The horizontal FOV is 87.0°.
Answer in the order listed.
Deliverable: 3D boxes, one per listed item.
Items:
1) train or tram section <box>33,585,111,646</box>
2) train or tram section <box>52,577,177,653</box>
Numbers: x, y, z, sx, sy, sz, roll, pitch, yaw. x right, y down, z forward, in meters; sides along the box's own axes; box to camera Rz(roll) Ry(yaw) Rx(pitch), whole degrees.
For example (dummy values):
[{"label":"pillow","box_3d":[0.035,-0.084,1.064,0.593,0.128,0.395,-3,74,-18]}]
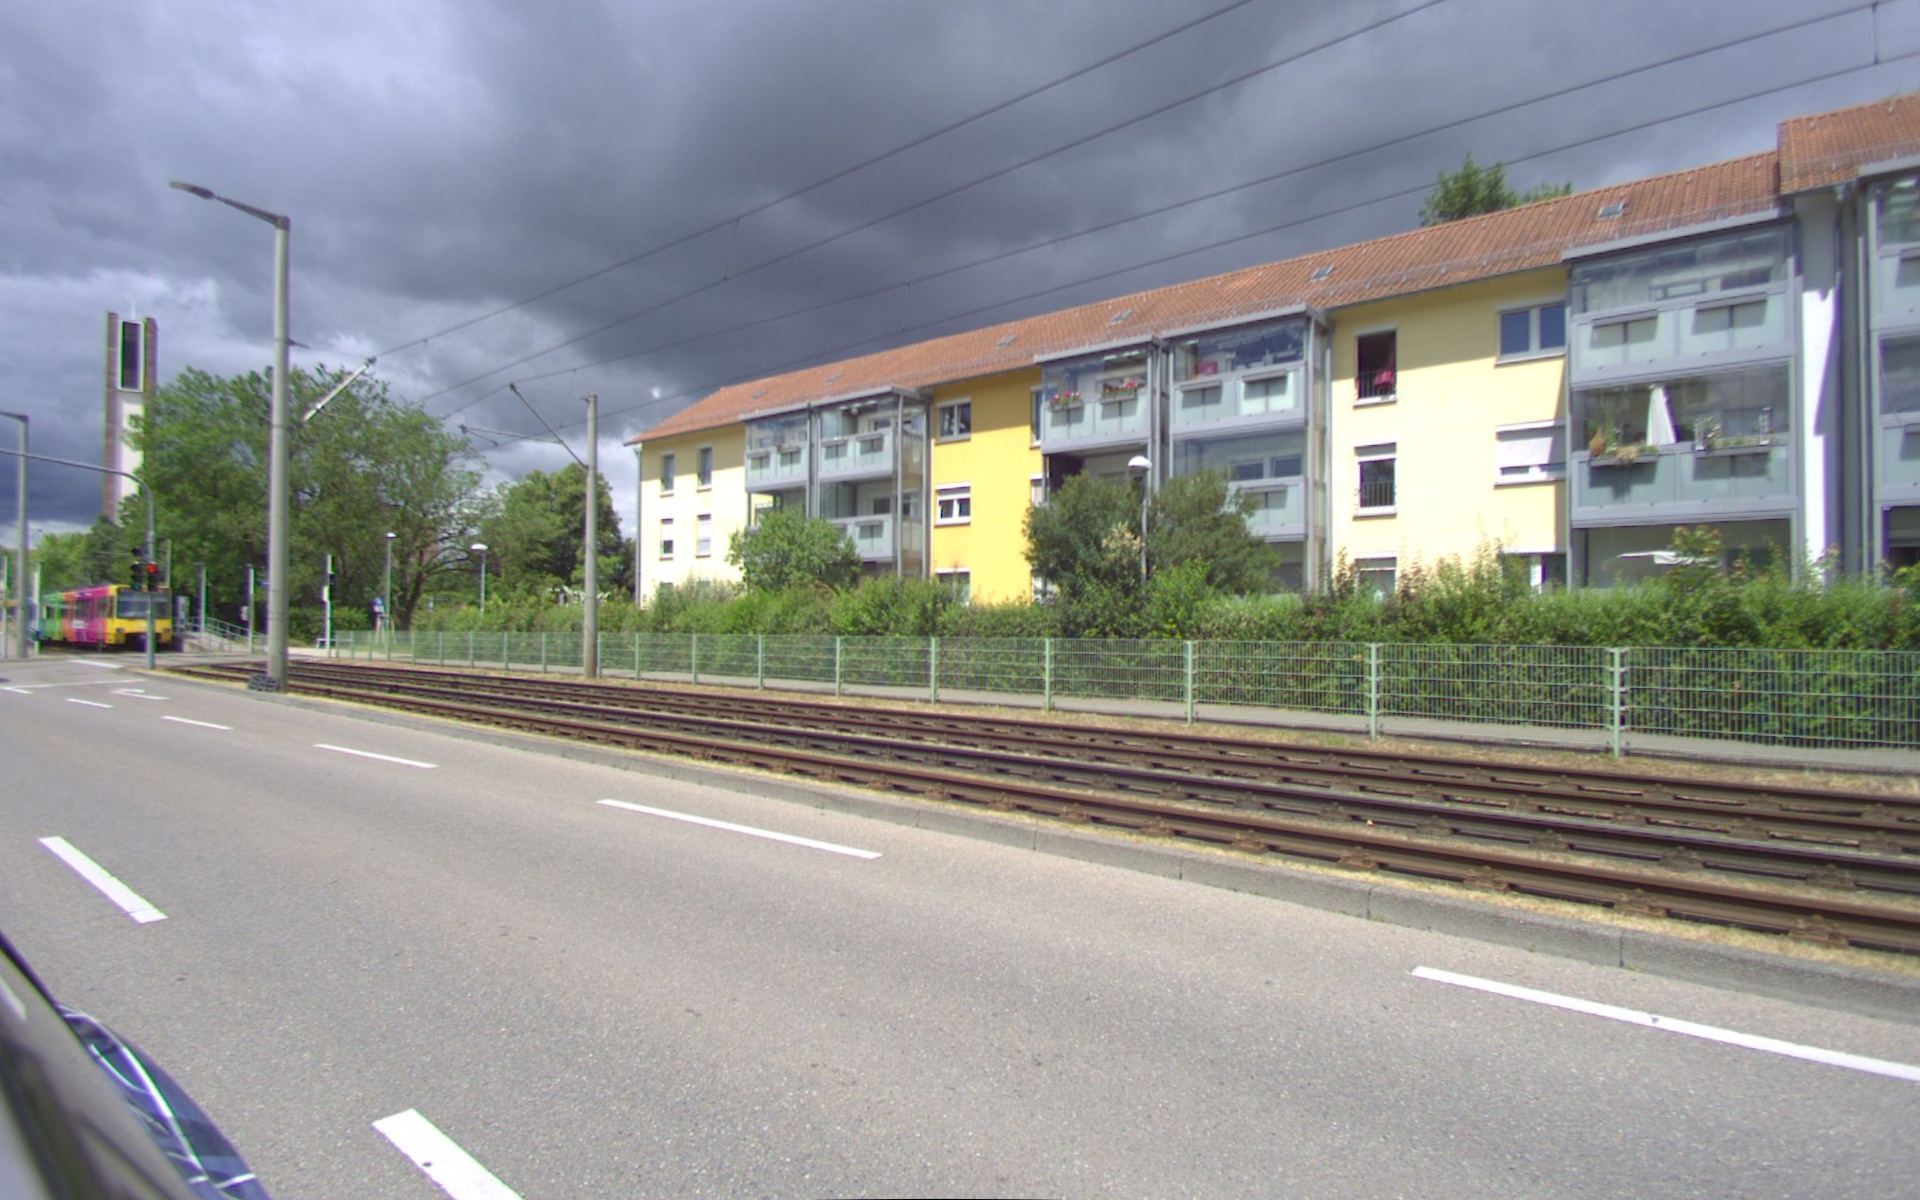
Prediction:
[{"label":"train or tram section","box_3d":[-59.894,1.051,68.204,8.375,3.892,2.949,-1,0,42]},{"label":"train or tram section","box_3d":[-49.823,0.871,59.245,18.531,3.892,2.949,-1,0,42]}]
